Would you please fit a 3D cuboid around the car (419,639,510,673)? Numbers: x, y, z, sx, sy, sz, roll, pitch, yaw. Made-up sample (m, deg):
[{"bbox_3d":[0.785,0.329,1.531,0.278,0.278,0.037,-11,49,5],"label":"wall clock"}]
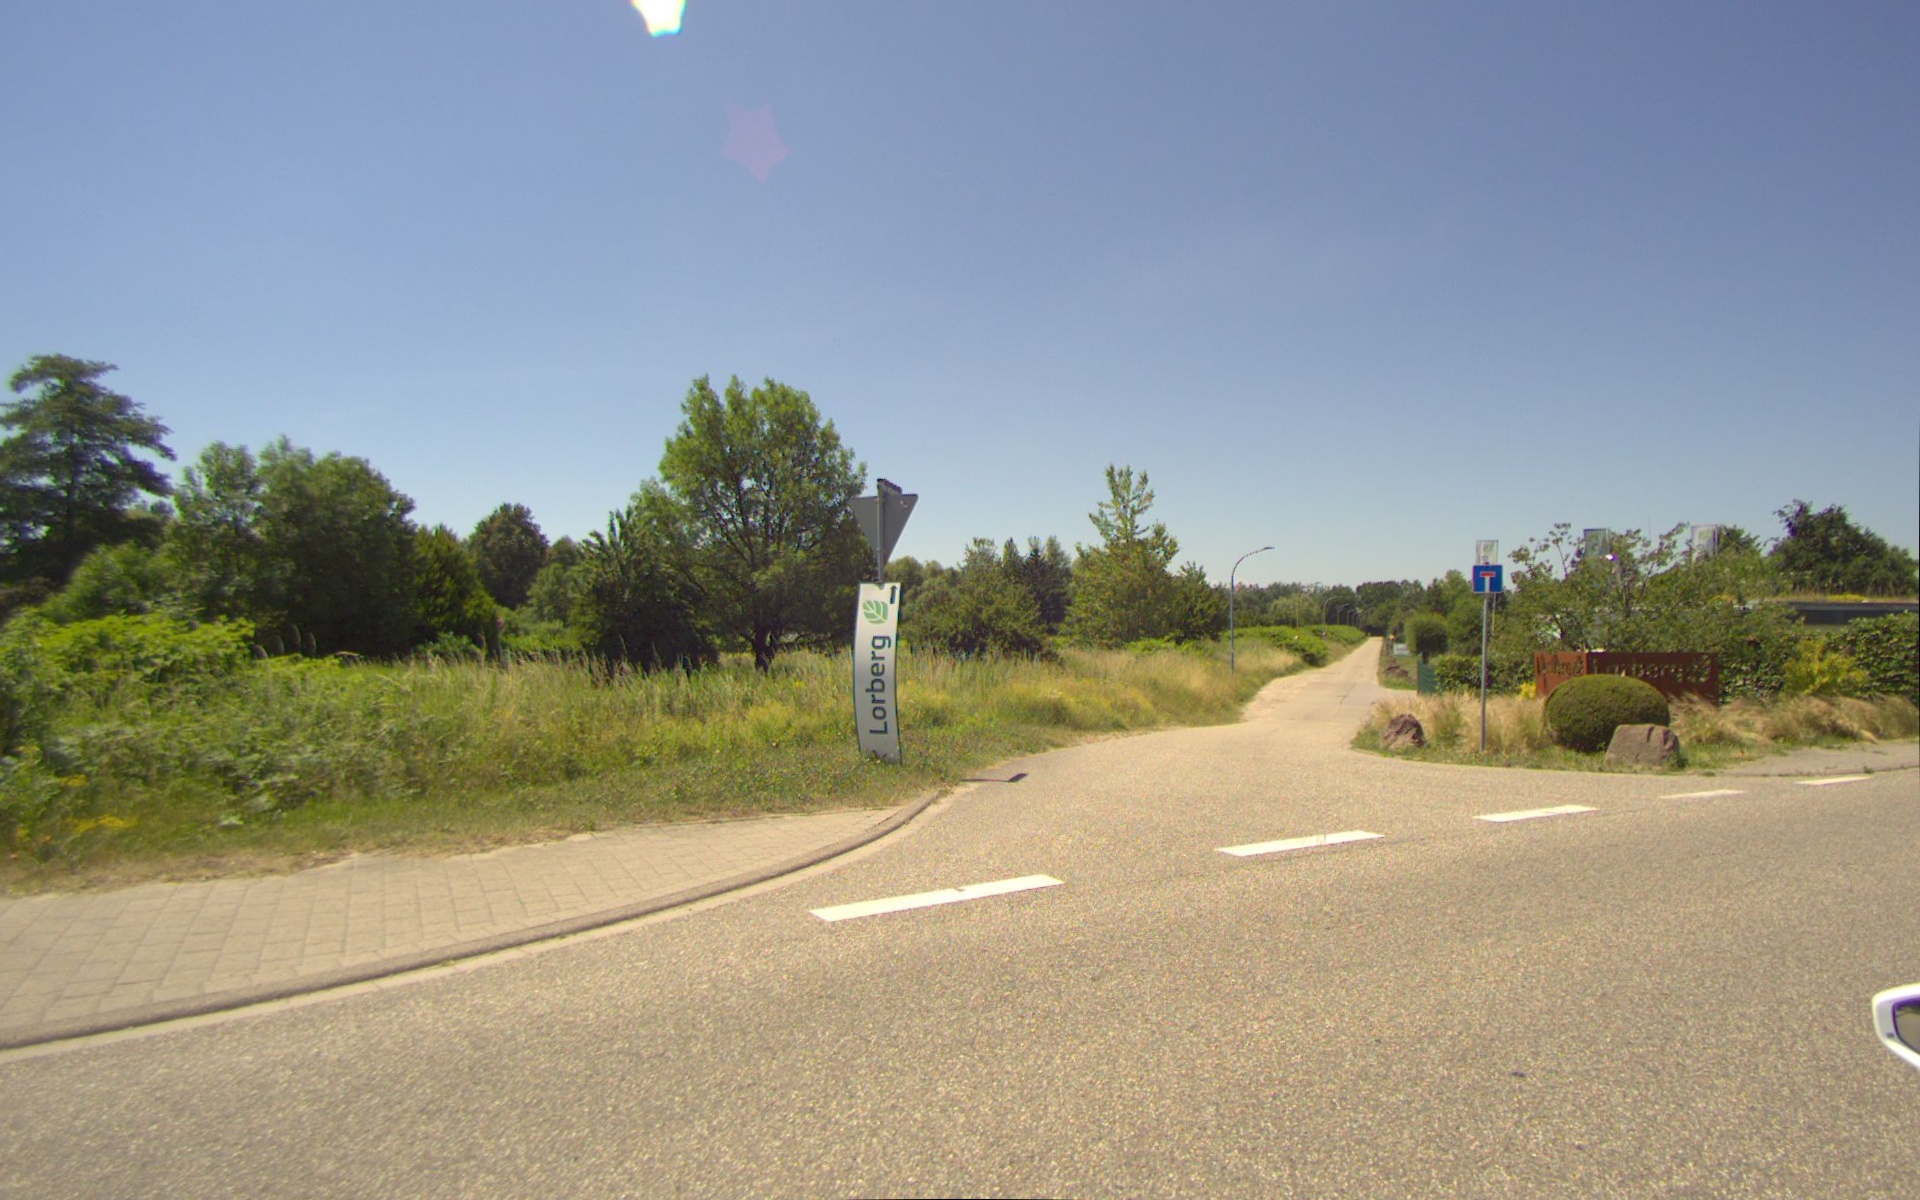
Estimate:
[{"bbox_3d":[-25.034,2.817,50.896,1.960,1.617,4.002,-2,-2,17],"label":"car"}]
